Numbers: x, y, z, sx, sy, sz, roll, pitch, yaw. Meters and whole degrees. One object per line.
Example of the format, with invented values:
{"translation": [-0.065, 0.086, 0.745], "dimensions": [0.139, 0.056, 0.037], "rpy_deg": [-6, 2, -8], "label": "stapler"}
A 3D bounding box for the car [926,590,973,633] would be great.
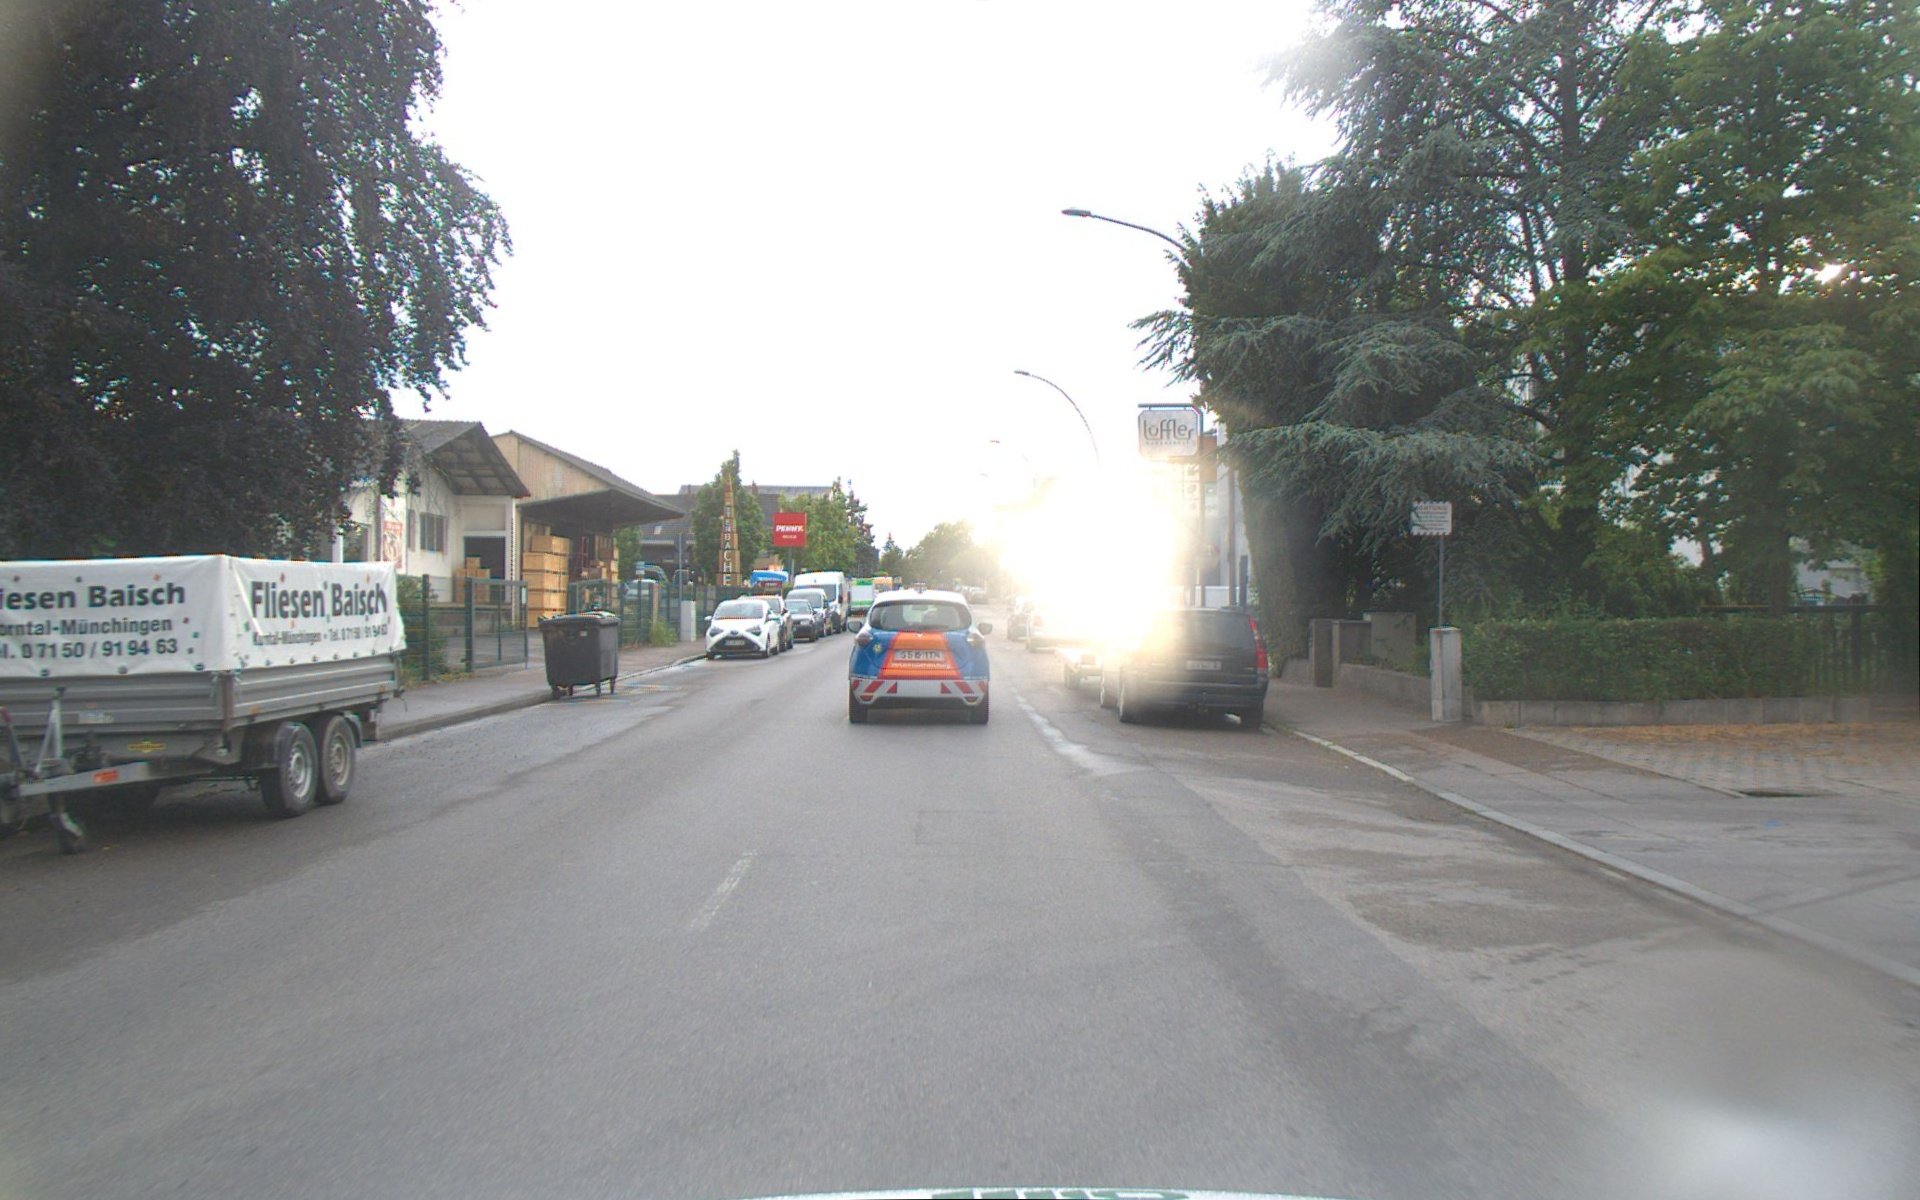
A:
{"translation": [-0.441, 0.414, 62.785], "dimensions": [1.617, 1.548, 3.998], "rpy_deg": [1, 0, -2], "label": "car"}

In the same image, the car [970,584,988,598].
{"translation": [1.835, -0.868, 159.302], "dimensions": [1.557, 1.364, 4.091], "rpy_deg": [0, 0, -2], "label": "car"}

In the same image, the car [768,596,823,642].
{"translation": [-5.677, 0.628, 57.482], "dimensions": [1.628, 1.474, 4.315], "rpy_deg": [-2, 0, -2], "label": "car"}

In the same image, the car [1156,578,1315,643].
{"translation": [8.603, 0.325, 51.928], "dimensions": [4.635, 1.919, 2.000], "rpy_deg": [1, 0, -1], "label": "car"}

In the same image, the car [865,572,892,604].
{"translation": [-6.751, -1.012, 137.251], "dimensions": [2.082, 2.582, 6.020], "rpy_deg": [-1, 1, -2], "label": "car"}

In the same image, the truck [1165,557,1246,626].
{"translation": [14.362, -0.492, 96.791], "dimensions": [4.062, 3.737, 2.718], "rpy_deg": [3, 0, -3], "label": "truck"}

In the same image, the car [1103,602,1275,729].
{"translation": [2.914, 0.780, 21.900], "dimensions": [1.704, 1.458, 4.649], "rpy_deg": [1, 0, 1], "label": "car"}

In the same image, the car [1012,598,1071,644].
{"translation": [2.709, 0.682, 56.072], "dimensions": [1.703, 1.492, 4.545], "rpy_deg": [1, 0, -1], "label": "car"}

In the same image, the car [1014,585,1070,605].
{"translation": [6.394, -0.376, 129.199], "dimensions": [4.250, 1.501, 1.902], "rpy_deg": [1, 0, -2], "label": "car"}

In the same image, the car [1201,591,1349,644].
{"translation": [9.357, 0.515, 49.432], "dimensions": [4.020, 1.482, 2.000], "rpy_deg": [1, 0, -1], "label": "car"}

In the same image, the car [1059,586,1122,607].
{"translation": [9.260, -0.241, 117.498], "dimensions": [4.326, 1.417, 1.879], "rpy_deg": [1, 0, -2], "label": "car"}

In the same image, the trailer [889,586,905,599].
{"translation": [-7.125, -0.819, 186.203], "dimensions": [1.683, 1.282, 5.243], "rpy_deg": [1, 2, -3], "label": "trailer"}

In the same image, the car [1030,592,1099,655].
{"translation": [2.880, 0.630, 46.323], "dimensions": [1.703, 1.650, 4.374], "rpy_deg": [1, 0, 1], "label": "car"}

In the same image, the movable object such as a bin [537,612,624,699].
{"translation": [-6.121, 0.881, 26.761], "dimensions": [1.078, 1.333, 1.425], "rpy_deg": [1, 0, -1], "label": "movable object such as a bin"}

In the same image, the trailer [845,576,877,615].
{"translation": [-6.372, -0.310, 107.010], "dimensions": [1.776, 2.354, 4.729], "rpy_deg": [-2, 1, -1], "label": "trailer"}

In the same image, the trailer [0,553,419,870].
{"translation": [-5.514, 0.617, 11.685], "dimensions": [1.890, 1.796, 4.548], "rpy_deg": [1, 0, 0], "label": "trailer"}

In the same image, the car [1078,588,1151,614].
{"translation": [8.640, 0.058, 92.820], "dimensions": [3.907, 1.455, 1.630], "rpy_deg": [0, 0, -2], "label": "car"}

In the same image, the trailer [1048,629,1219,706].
{"translation": [2.778, 1.075, 28.176], "dimensions": [2.129, 0.913, 6.635], "rpy_deg": [1, 1, -1], "label": "trailer"}

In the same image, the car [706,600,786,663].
{"translation": [-5.578, 0.800, 43.417], "dimensions": [1.583, 1.535, 3.660], "rpy_deg": [-1, 0, 0], "label": "car"}

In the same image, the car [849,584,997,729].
{"translation": [-0.470, 0.649, 20.799], "dimensions": [1.696, 1.659, 3.493], "rpy_deg": [0, 0, -2], "label": "car"}

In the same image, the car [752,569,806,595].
{"translation": [-15.113, -1.478, 138.015], "dimensions": [4.218, 2.049, 2.062], "rpy_deg": [1, 0, -1], "label": "car"}

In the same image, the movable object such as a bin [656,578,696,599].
{"translation": [-25.189, -0.986, 146.994], "dimensions": [3.357, 1.790, 1.997], "rpy_deg": [1, 0, -7], "label": "movable object such as a bin"}

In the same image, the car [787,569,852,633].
{"translation": [-5.855, 0.029, 69.712], "dimensions": [2.114, 2.469, 6.459], "rpy_deg": [-3, 0, -1], "label": "car"}

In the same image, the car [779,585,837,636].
{"translation": [-5.836, 0.404, 63.920], "dimensions": [1.733, 1.799, 4.446], "rpy_deg": [-4, 0, 0], "label": "car"}

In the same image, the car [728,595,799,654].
{"translation": [-5.704, 0.688, 48.324], "dimensions": [1.627, 1.612, 3.915], "rpy_deg": [-2, 0, -1], "label": "car"}
